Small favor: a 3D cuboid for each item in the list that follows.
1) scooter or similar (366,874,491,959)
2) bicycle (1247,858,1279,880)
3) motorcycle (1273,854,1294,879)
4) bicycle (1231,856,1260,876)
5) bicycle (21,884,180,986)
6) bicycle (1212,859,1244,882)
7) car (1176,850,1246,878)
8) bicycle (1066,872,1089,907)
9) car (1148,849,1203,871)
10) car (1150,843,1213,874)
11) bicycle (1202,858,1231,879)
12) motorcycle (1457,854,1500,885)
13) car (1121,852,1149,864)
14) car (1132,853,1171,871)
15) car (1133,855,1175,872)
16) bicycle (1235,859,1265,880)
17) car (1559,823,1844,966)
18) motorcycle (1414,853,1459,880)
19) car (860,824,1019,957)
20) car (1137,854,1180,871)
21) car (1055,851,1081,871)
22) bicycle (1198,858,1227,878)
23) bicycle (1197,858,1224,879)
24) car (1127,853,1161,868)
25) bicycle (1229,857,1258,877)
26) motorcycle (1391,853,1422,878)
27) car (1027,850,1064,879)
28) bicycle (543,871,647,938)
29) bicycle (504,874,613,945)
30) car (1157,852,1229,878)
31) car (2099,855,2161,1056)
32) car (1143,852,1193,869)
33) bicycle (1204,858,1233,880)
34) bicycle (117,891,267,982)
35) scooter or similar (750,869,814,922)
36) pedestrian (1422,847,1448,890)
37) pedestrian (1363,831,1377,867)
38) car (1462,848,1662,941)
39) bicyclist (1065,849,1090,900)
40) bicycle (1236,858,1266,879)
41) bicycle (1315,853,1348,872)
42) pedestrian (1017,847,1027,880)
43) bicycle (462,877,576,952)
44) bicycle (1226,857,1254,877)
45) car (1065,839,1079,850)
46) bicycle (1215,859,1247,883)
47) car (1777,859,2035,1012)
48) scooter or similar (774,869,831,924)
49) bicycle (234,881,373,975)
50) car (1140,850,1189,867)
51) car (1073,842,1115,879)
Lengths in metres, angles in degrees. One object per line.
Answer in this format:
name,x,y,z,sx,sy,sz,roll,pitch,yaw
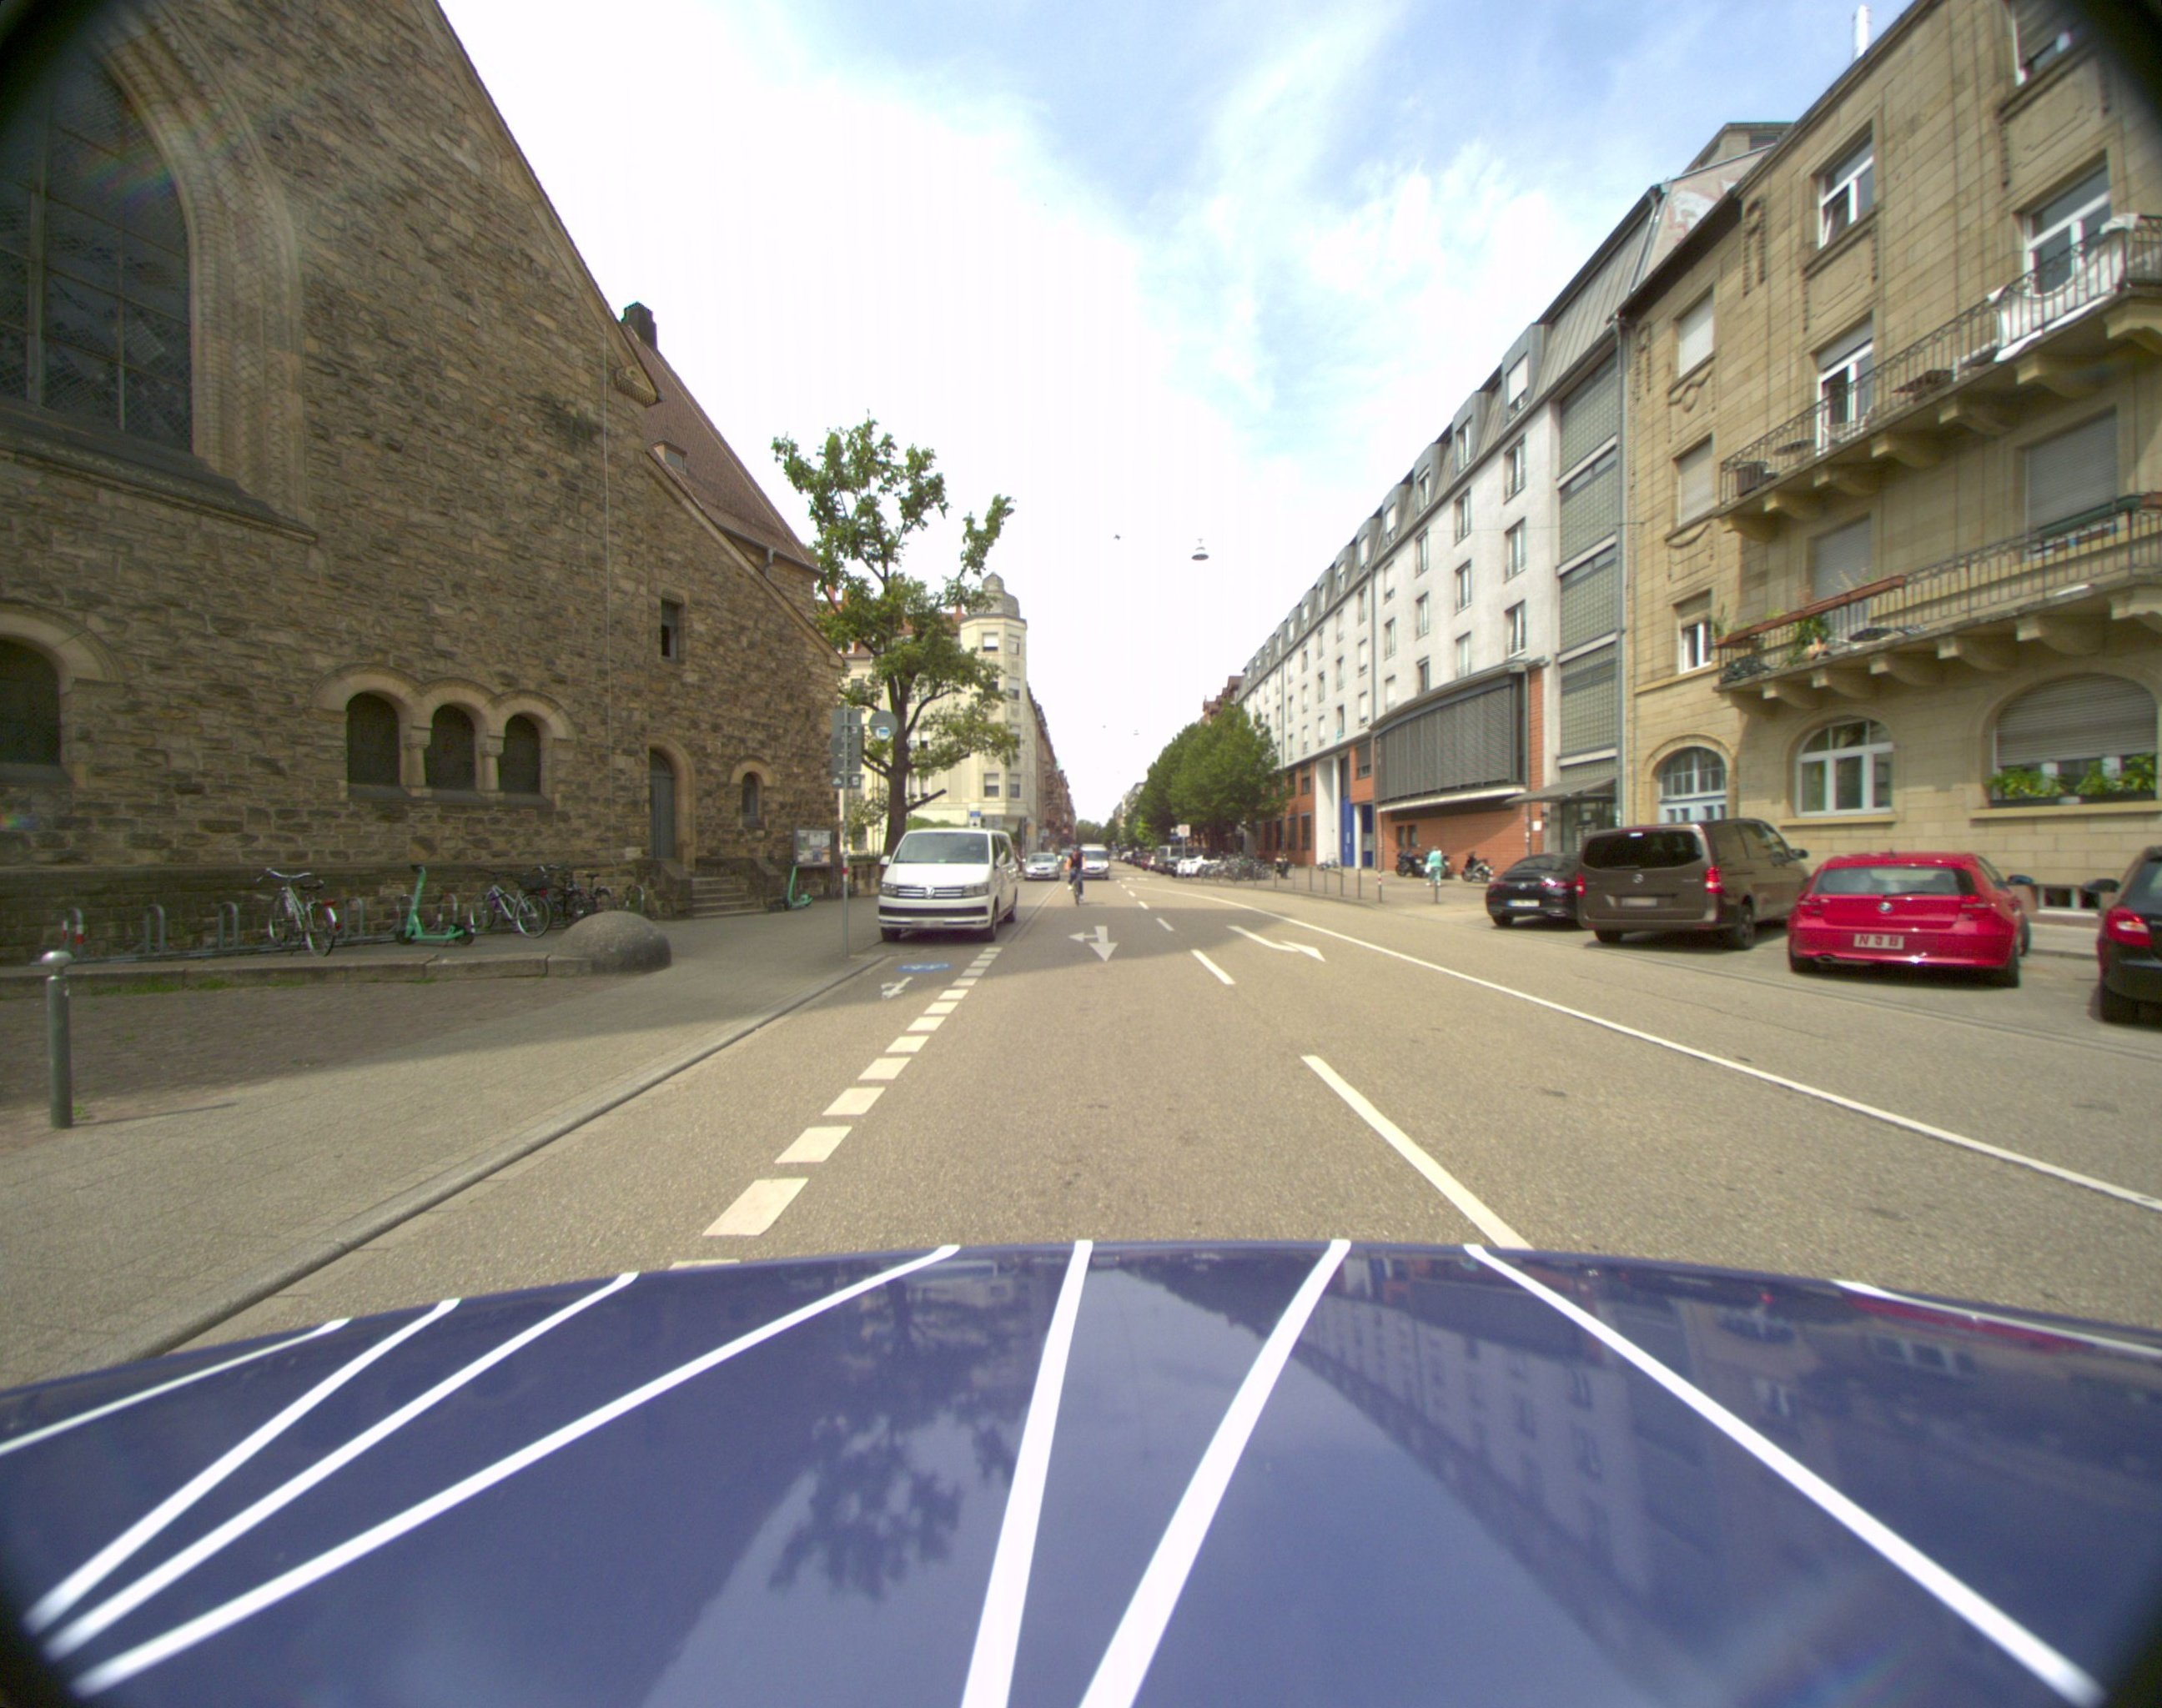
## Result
scooter or similar,-9.389,0.867,10.931,1.778,1.133,0.547,0,0,20
bicycle,8.668,0.706,36.261,1.409,1.020,0.402,-1,0,3
motorcycle,9.756,0.581,36.698,0.585,1.166,1.780,-2,0,3
bicycle,8.501,0.620,39.345,1.409,1.020,0.402,-1,0,3
bicycle,-10.771,0.852,8.344,1.778,0.952,0.547,2,1,20
bicycle,7.128,0.802,36.901,1.409,1.032,0.402,-3,0,3
car,7.657,0.543,44.681,4.013,1.536,1.598,-1,0,-33
bicycle,-0.098,1.010,21.899,0.586,0.927,1.783,-1,-1,2
car,7.258,0.456,58.438,4.012,1.605,1.708,-1,-1,-32
car,6.983,0.280,52.774,4.011,1.986,1.857,-3,1,-30
bicycle,7.039,0.771,39.546,1.409,1.020,0.402,-3,0,3
motorcycle,14.218,0.530,27.227,0.585,1.042,1.794,-2,0,2
car,8.157,0.620,114.552,4.012,1.746,1.687,-1,0,-32
car,7.781,0.845,83.355,4.052,1.846,1.687,-1,0,-32
car,7.440,0.956,77.032,4.012,1.558,1.687,-1,-1,-32
bicycle,8.581,0.779,38.528,1.409,1.020,0.402,-1,0,3
car,10.241,0.512,12.410,5.280,1.899,2.116,-1,0,-33
motorcycle,14.458,0.503,30.928,0.585,1.042,1.965,-2,0,-10
car,-2.374,0.525,14.159,2.019,2.018,5.122,1,1,0
car,7.585,0.864,74.435,4.012,1.558,1.687,-1,-1,-32
car,-1.157,0.617,68.176,1.853,1.661,4.008,-1,-1,5
bicycle,7.067,0.757,40.818,1.409,1.020,0.402,-3,0,3
bicycle,7.084,0.794,41.627,1.409,1.020,0.402,-3,0,3
car,7.977,0.838,96.478,4.012,1.846,1.687,-1,0,-32
bicycle,8.508,0.689,39.831,1.409,1.020,0.402,-1,0,3
motorcycle,14.304,0.490,33.404,0.585,1.042,1.657,-2,0,0
car,-1.804,0.540,39.882,1.759,1.460,4.418,0,0,0
bicycle,-8.459,0.857,13.219,1.778,1.105,0.547,0,0,20
bicycle,-8.668,0.887,12.603,1.771,1.105,0.547,0,0,20
car,6.938,0.665,46.981,4.324,1.460,1.713,-1,0,-33
car,10.212,0.773,6.489,4.004,1.494,1.627,-1,0,-34
car,7.353,0.539,64.027,4.012,1.381,1.592,-1,-1,-32
bicycle,7.035,0.778,38.904,1.409,1.032,0.402,-3,0,3
bicycle,-10.491,0.941,8.962,1.778,0.951,0.547,0,0,20
scooter or similar,-7.151,0.963,18.233,0.545,1.200,1.483,0,0,21
pedestrian,12.352,0.487,26.552,0.662,1.477,0.509,-1,1,-1
pedestrian,16.303,-0.274,42.849,0.729,2.002,0.783,0,0,20
car,9.833,0.730,15.397,4.679,1.401,1.895,-4,0,-38
bicyclist,-0.100,0.573,21.881,0.649,1.408,1.094,-1,0,2
bicycle,8.508,0.718,38.043,1.409,1.020,0.402,-1,0,3
bicycle,14.534,0.462,44.104,1.613,0.920,0.932,-6,-1,13
pedestrian,-3.062,0.477,39.601,0.468,1.725,0.410,0,0,0
bicycle,-8.900,0.929,12.030,1.778,1.105,0.547,0,0,20
bicycle,8.580,0.703,41.115,1.409,1.020,0.402,-1,0,3
car,-1.345,-1.372,113.512,1.854,1.505,4.006,-1,-1,1
bicycle,7.110,0.805,36.010,1.409,1.032,0.402,-3,0,3
car,10.077,0.796,9.198,4.020,1.401,1.792,-1,0,-38
scooter or similar,-6.541,0.978,17.928,0.545,1.200,1.444,0,0,14
bicycle,-10.041,0.921,9.809,1.778,1.105,0.547,0,0,20
car,7.267,0.384,66.241,4.012,1.445,1.687,-1,-1,-32
car,0.754,0.355,41.251,1.942,1.913,4.008,-1,-1,5
